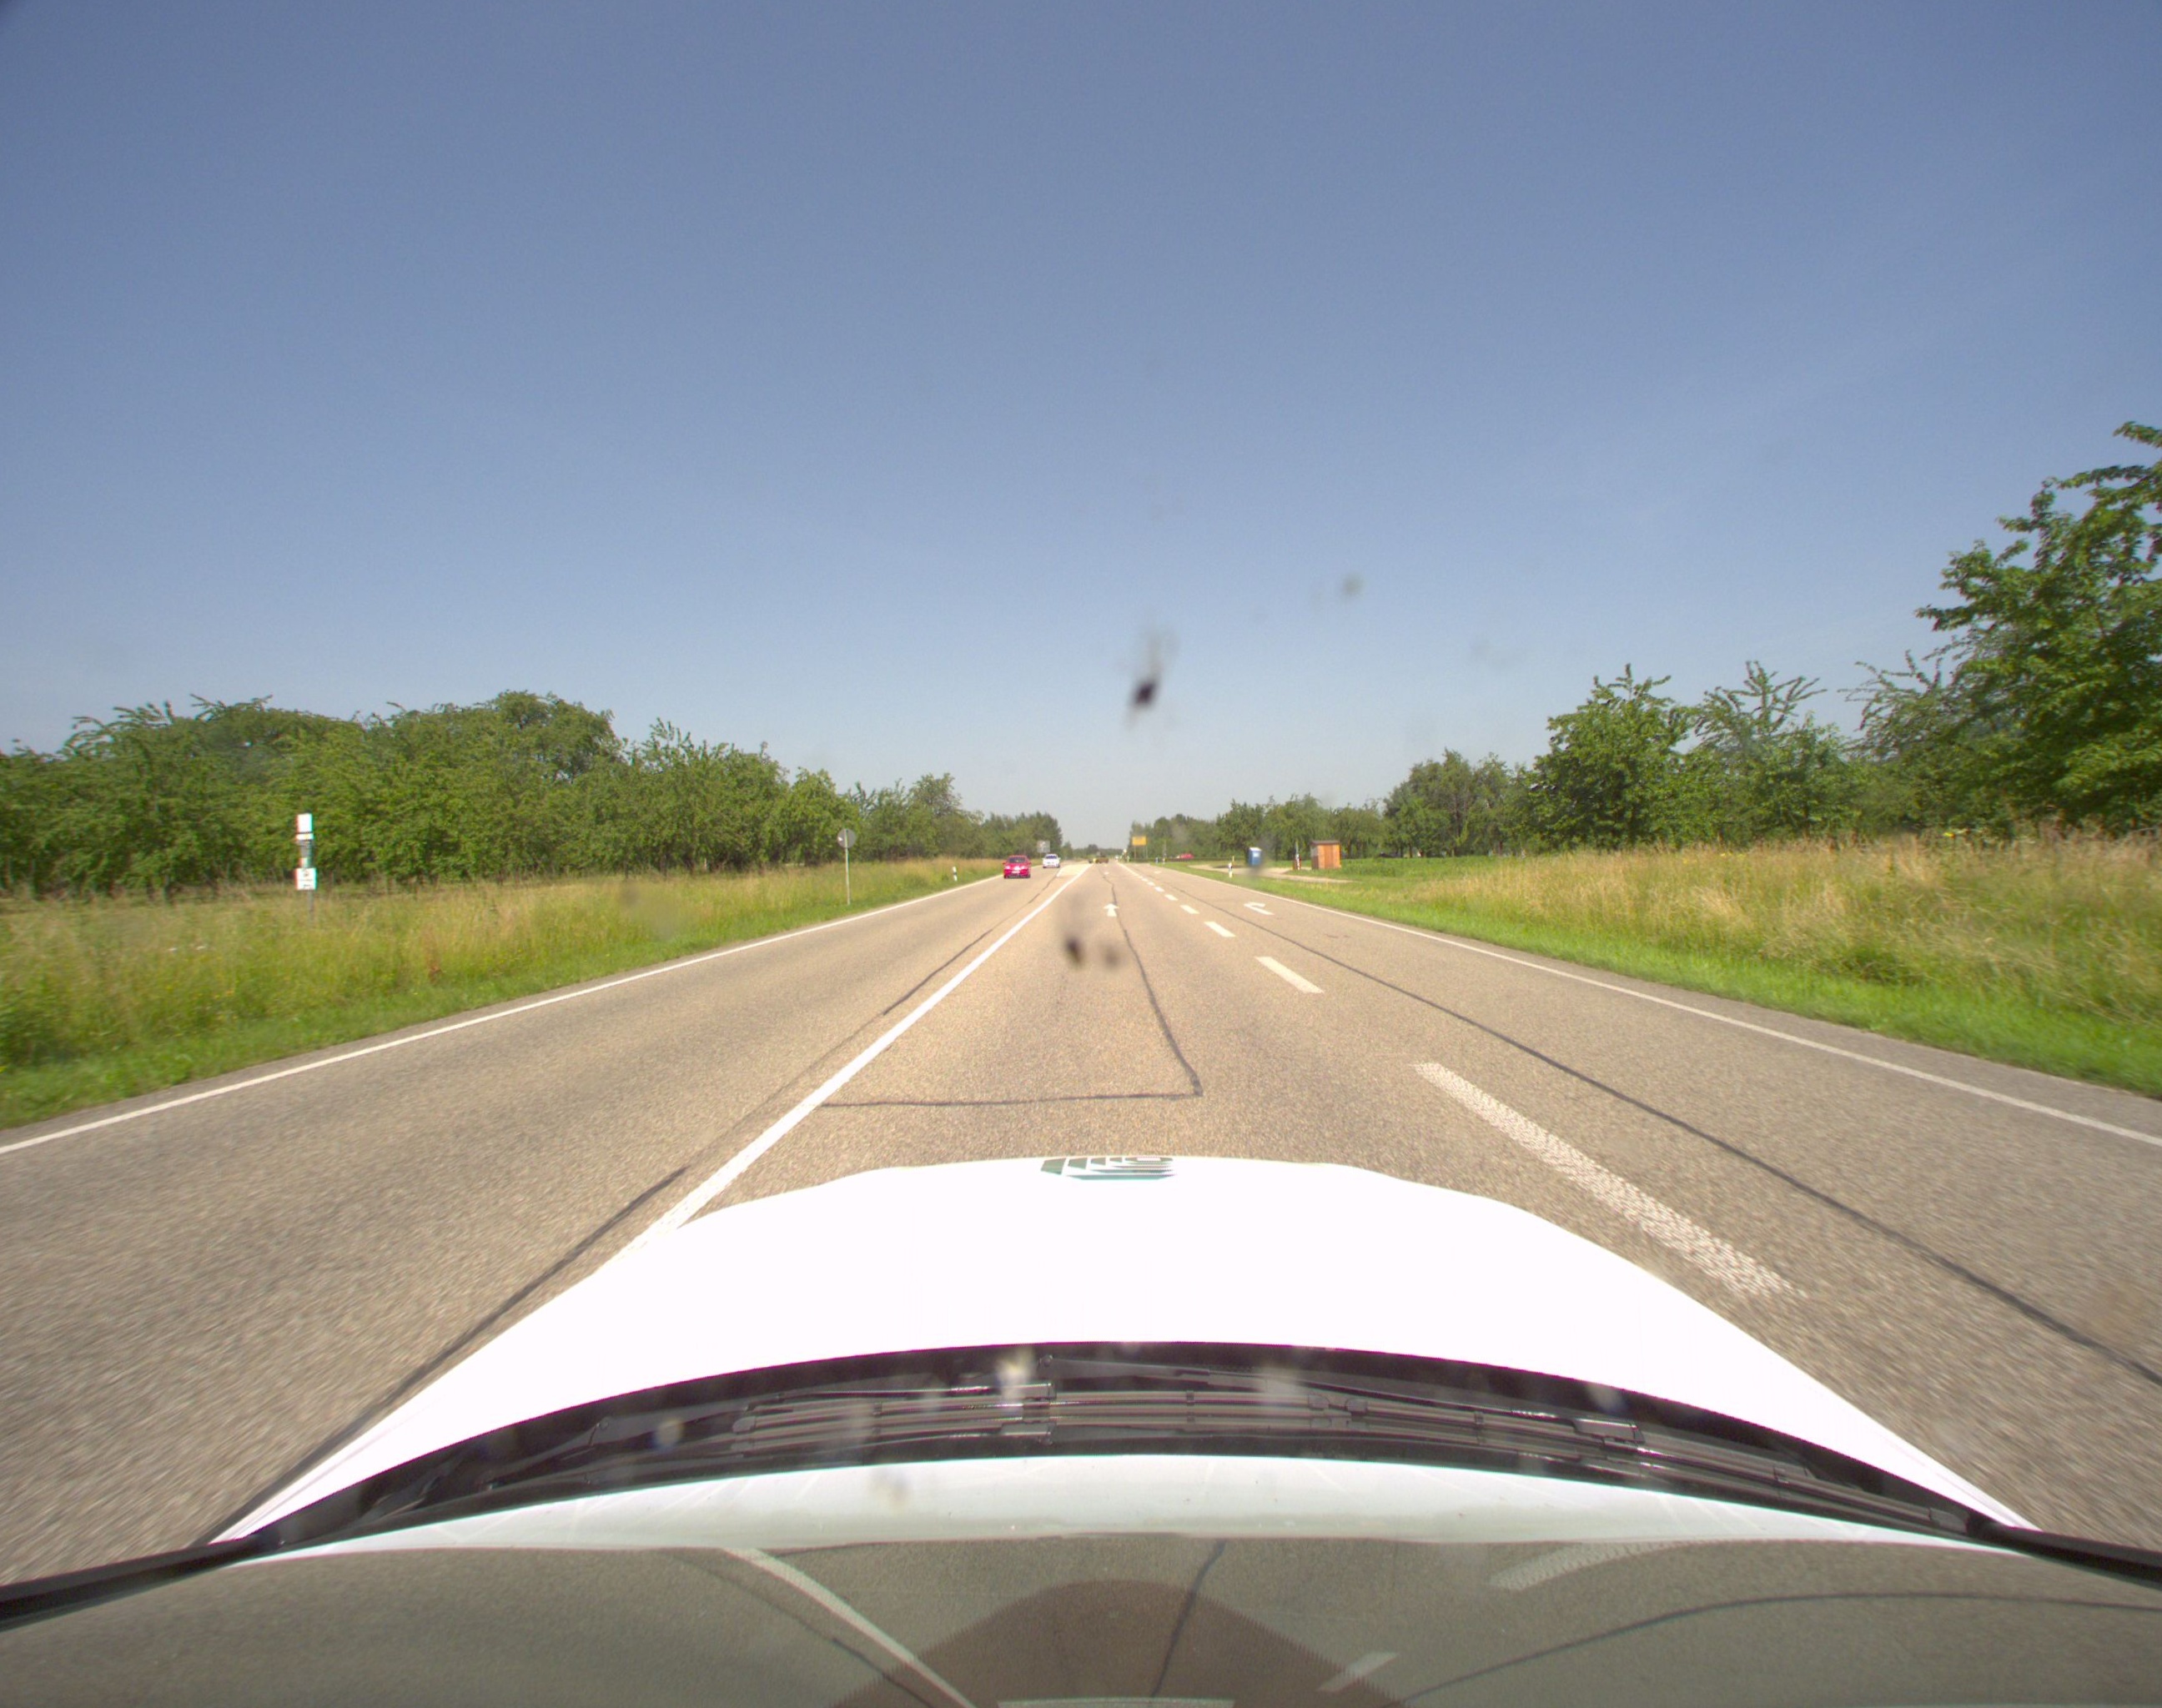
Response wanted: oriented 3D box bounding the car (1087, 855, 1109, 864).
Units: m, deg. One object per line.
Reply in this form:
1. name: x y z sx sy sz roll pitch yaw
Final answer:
1. car: 3.022 0.999 143.985 1.681 1.416 3.848 -1 0 43

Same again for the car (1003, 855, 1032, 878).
1. car: -4.207 0.819 54.200 1.620 1.457 3.621 -1 0 0

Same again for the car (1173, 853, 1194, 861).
1. car: 18.854 0.581 150.329 3.729 1.493 1.671 0 0 -1

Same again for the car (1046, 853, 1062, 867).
1. car: -3.008 0.684 90.263 1.670 1.494 4.136 -1 0 -1
